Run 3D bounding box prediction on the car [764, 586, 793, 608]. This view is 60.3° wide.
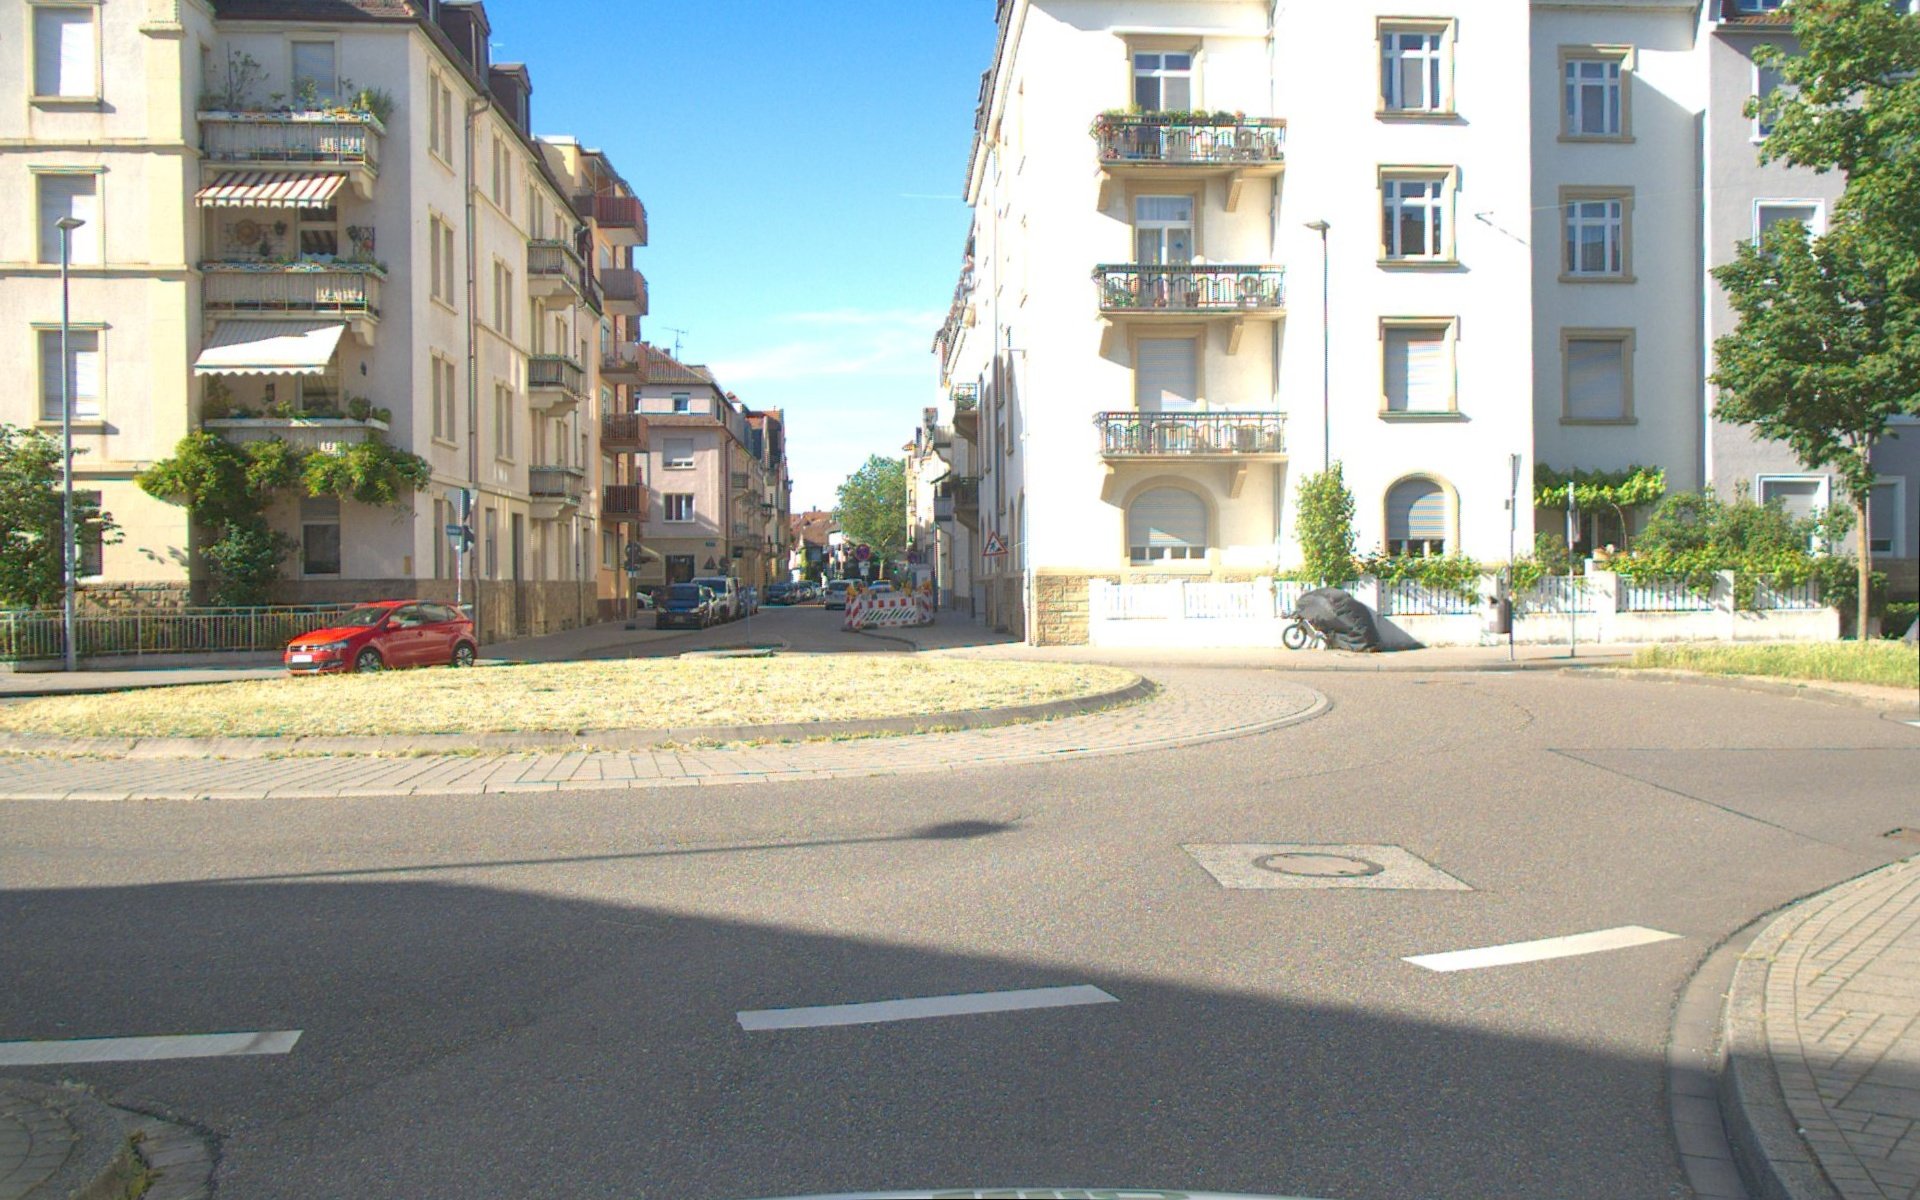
[{"bbox_3d":[-12.710,-0.185,116.088,1.645,1.451,4.272,2,0,-1],"label":"car"}]

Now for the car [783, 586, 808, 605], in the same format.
[{"bbox_3d":[-14.162,-0.394,142.786,1.939,1.508,4.324,2,0,-4],"label":"car"}]

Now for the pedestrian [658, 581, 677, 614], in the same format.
[{"bbox_3d":[-16.055,-0.139,90.799,0.906,1.849,0.993,0,0,-7],"label":"pedestrian"}]

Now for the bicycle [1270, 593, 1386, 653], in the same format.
[{"bbox_3d":[7.594,0.458,34.195,2.243,1.178,0.763,0,0,40],"label":"bicycle"}]

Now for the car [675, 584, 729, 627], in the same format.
[{"bbox_3d":[-10.278,0.182,66.065,1.727,1.649,4.292,0,0,-3],"label":"car"}]

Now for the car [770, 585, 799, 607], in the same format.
[{"bbox_3d":[-13.405,-0.305,126.540,1.964,1.610,4.483,2,0,-4],"label":"car"}]

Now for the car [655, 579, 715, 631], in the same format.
[{"bbox_3d":[-10.018,0.159,60.493,1.727,1.802,4.291,0,0,-3],"label":"car"}]

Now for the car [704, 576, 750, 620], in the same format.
[{"bbox_3d":[-10.940,-0.111,78.015,1.727,1.959,4.932,0,0,-3],"label":"car"}]

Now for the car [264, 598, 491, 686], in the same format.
[{"bbox_3d":[-10.958,0.758,31.396,1.678,1.406,3.997,-1,1,27],"label":"car"}]

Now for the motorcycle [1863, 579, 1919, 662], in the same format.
[{"bbox_3d":[15.417,0.313,25.524,1.103,1.290,2.777,-1,0,-10],"label":"motorcycle"}]

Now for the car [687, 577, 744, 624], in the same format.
[{"bbox_3d":[-10.526,-0.009,71.569,1.936,1.959,5.306,0,0,-3],"label":"car"}]

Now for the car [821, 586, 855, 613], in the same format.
[{"bbox_3d":[-7.174,-0.037,97.602,1.802,1.456,4.026,-2,-1,-2],"label":"car"}]
